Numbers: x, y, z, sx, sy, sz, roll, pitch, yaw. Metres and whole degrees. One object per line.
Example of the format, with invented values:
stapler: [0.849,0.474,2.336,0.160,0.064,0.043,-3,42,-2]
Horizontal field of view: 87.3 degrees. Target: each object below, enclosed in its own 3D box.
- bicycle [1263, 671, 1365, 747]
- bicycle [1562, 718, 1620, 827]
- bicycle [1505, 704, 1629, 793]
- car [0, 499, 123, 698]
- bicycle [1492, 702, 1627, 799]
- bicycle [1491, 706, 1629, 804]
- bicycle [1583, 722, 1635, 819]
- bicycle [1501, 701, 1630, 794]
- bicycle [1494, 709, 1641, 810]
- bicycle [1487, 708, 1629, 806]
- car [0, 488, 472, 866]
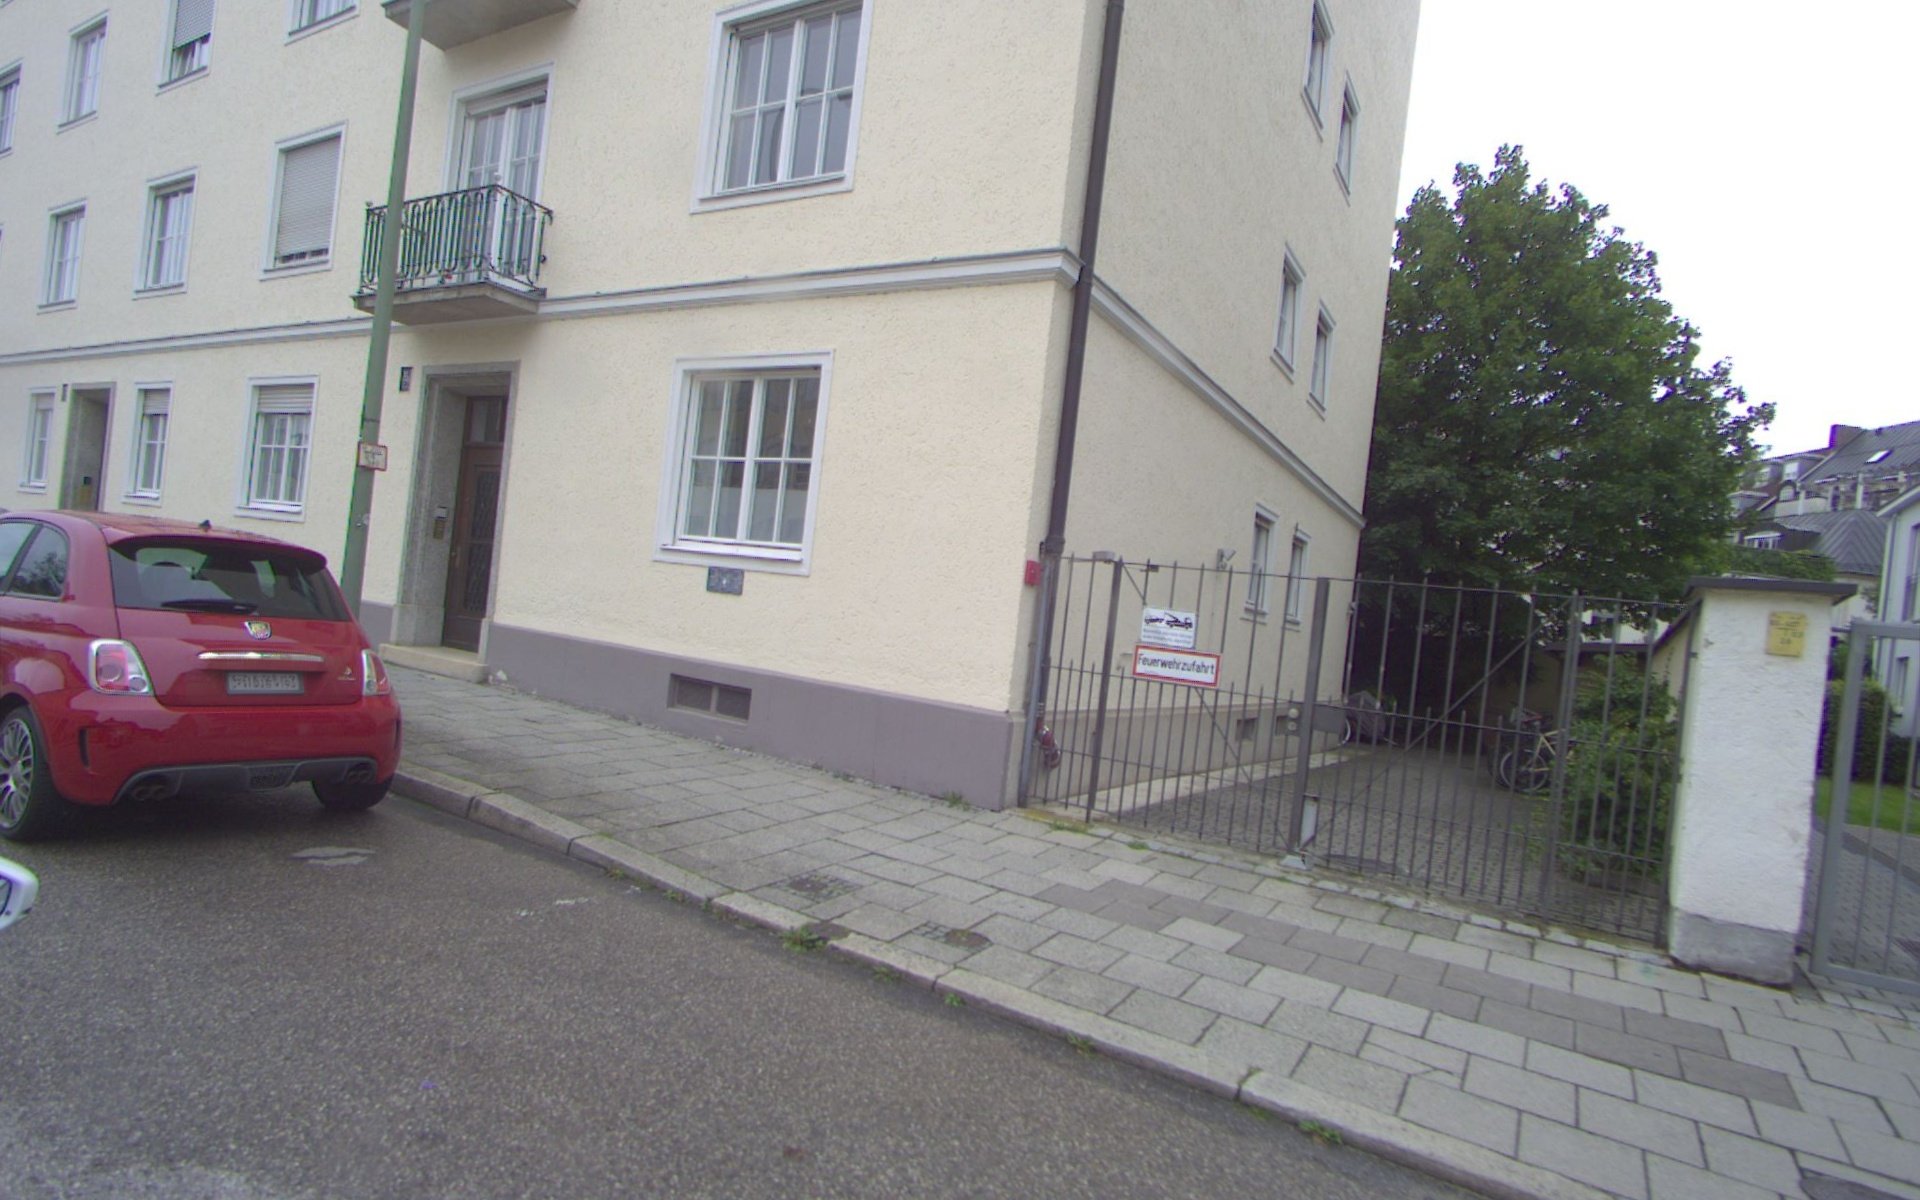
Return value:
bicycle: [6.575,2.017,18.720,1.614,1.161,0.422,7,-1,33]
bicycle: [7.105,1.907,11.336,0.425,1.096,1.363,7,-1,32]
bicycle: [9.897,2.402,16.445,1.614,1.174,0.422,7,-1,33]
car: [-8.836,-0.223,8.188,4.347,1.427,1.682,6,-1,31]
bicycle: [8.991,2.234,15.121,1.614,1.174,0.422,7,-1,33]
bicycle: [8.734,2.234,14.683,1.614,1.129,0.372,7,-1,33]
bicycle: [8.183,2.122,12.711,0.425,1.096,1.363,7,-1,32]
bicycle: [9.529,2.306,15.880,1.614,1.174,0.422,7,-1,33]
bicycle: [8.342,2.168,13.849,1.614,1.096,0.372,6,-1,34]
bicycle: [8.464,2.200,14.274,1.614,1.096,0.372,6,-1,34]
car: [-4.804,0.223,5.797,3.760,1.516,1.682,6,-1,31]
